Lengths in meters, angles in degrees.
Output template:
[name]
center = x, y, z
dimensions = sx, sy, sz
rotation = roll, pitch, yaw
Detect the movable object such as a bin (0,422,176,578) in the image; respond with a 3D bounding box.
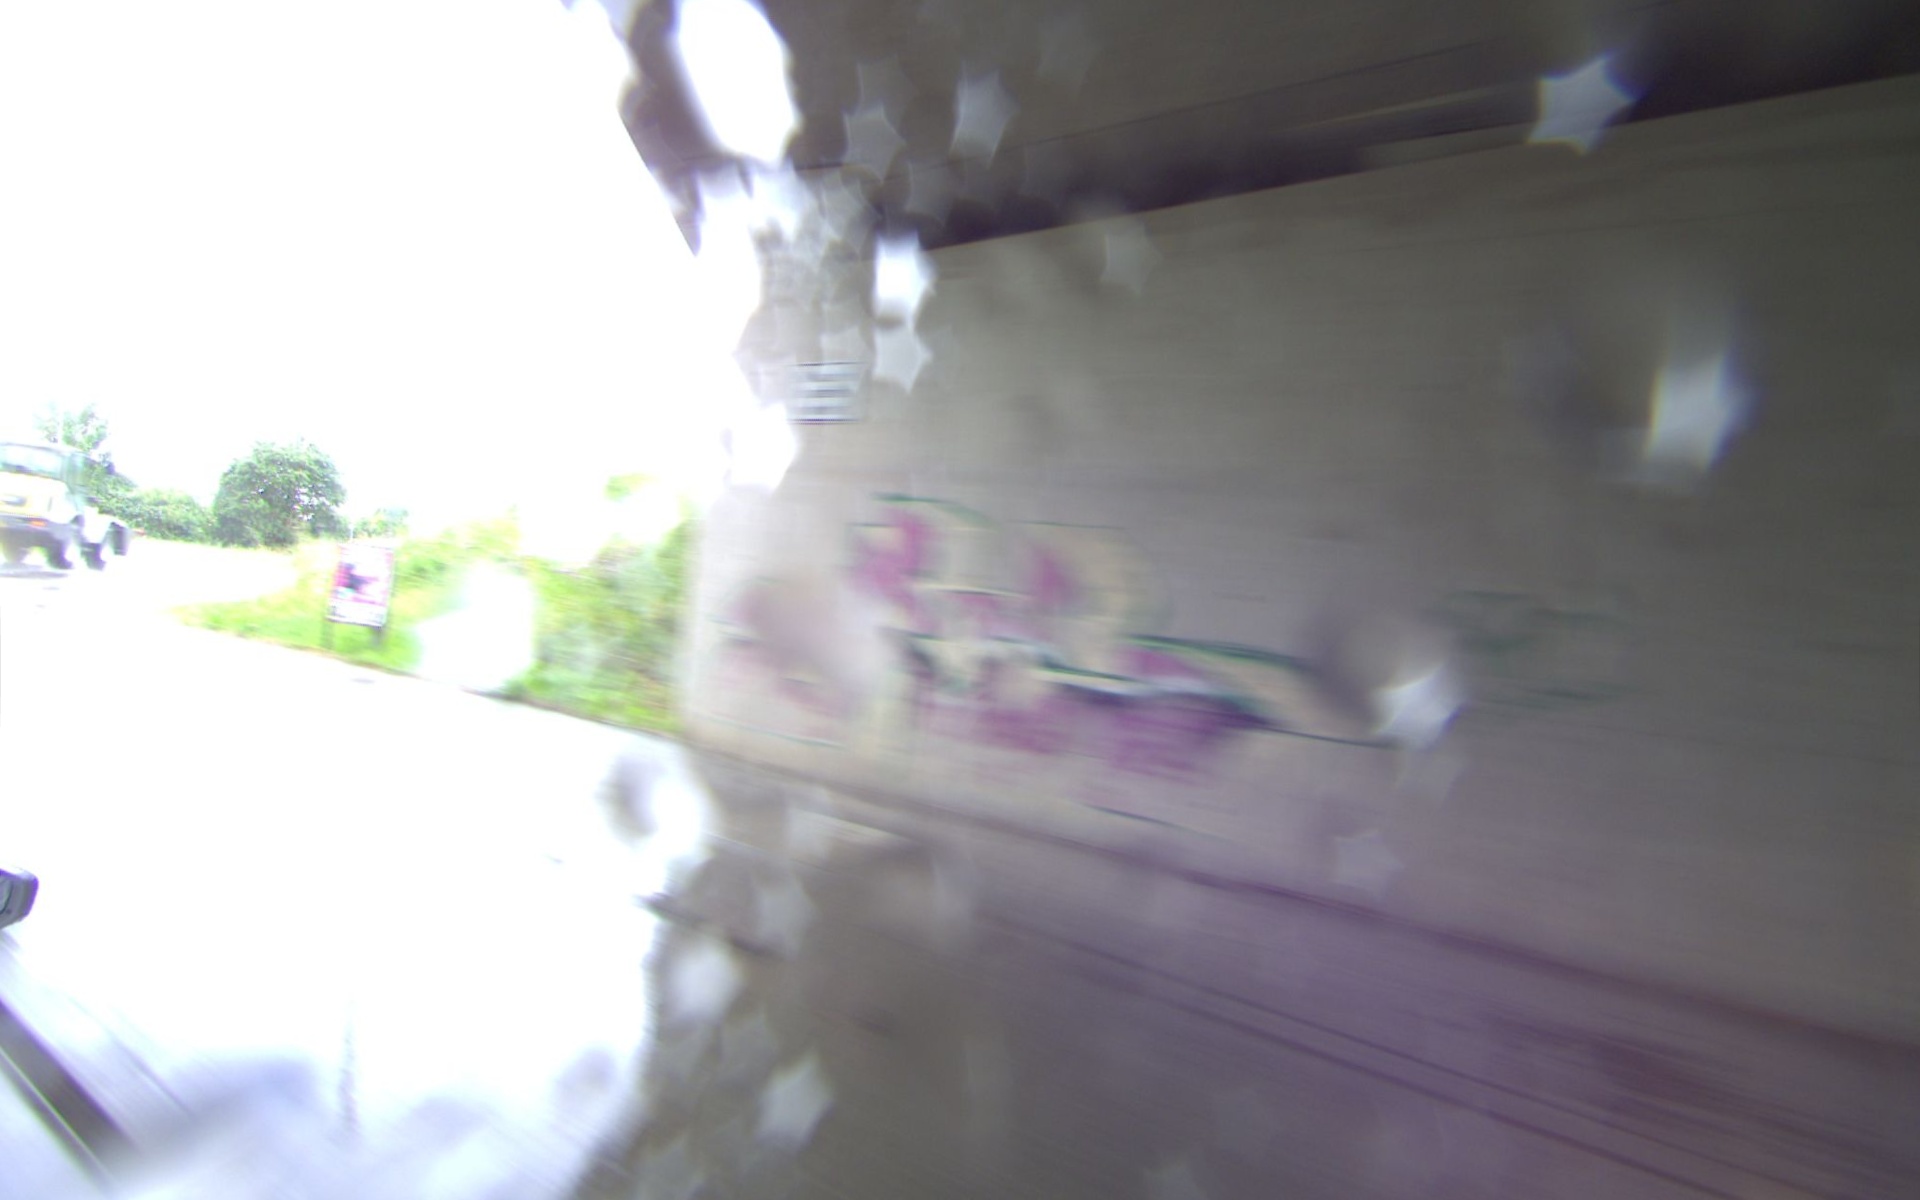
[movable object such as a bin]
center = -19.395, -2.008, 21.566
dimensions = 2.225, 2.699, 6.592
rotation = 8, -2, -24
